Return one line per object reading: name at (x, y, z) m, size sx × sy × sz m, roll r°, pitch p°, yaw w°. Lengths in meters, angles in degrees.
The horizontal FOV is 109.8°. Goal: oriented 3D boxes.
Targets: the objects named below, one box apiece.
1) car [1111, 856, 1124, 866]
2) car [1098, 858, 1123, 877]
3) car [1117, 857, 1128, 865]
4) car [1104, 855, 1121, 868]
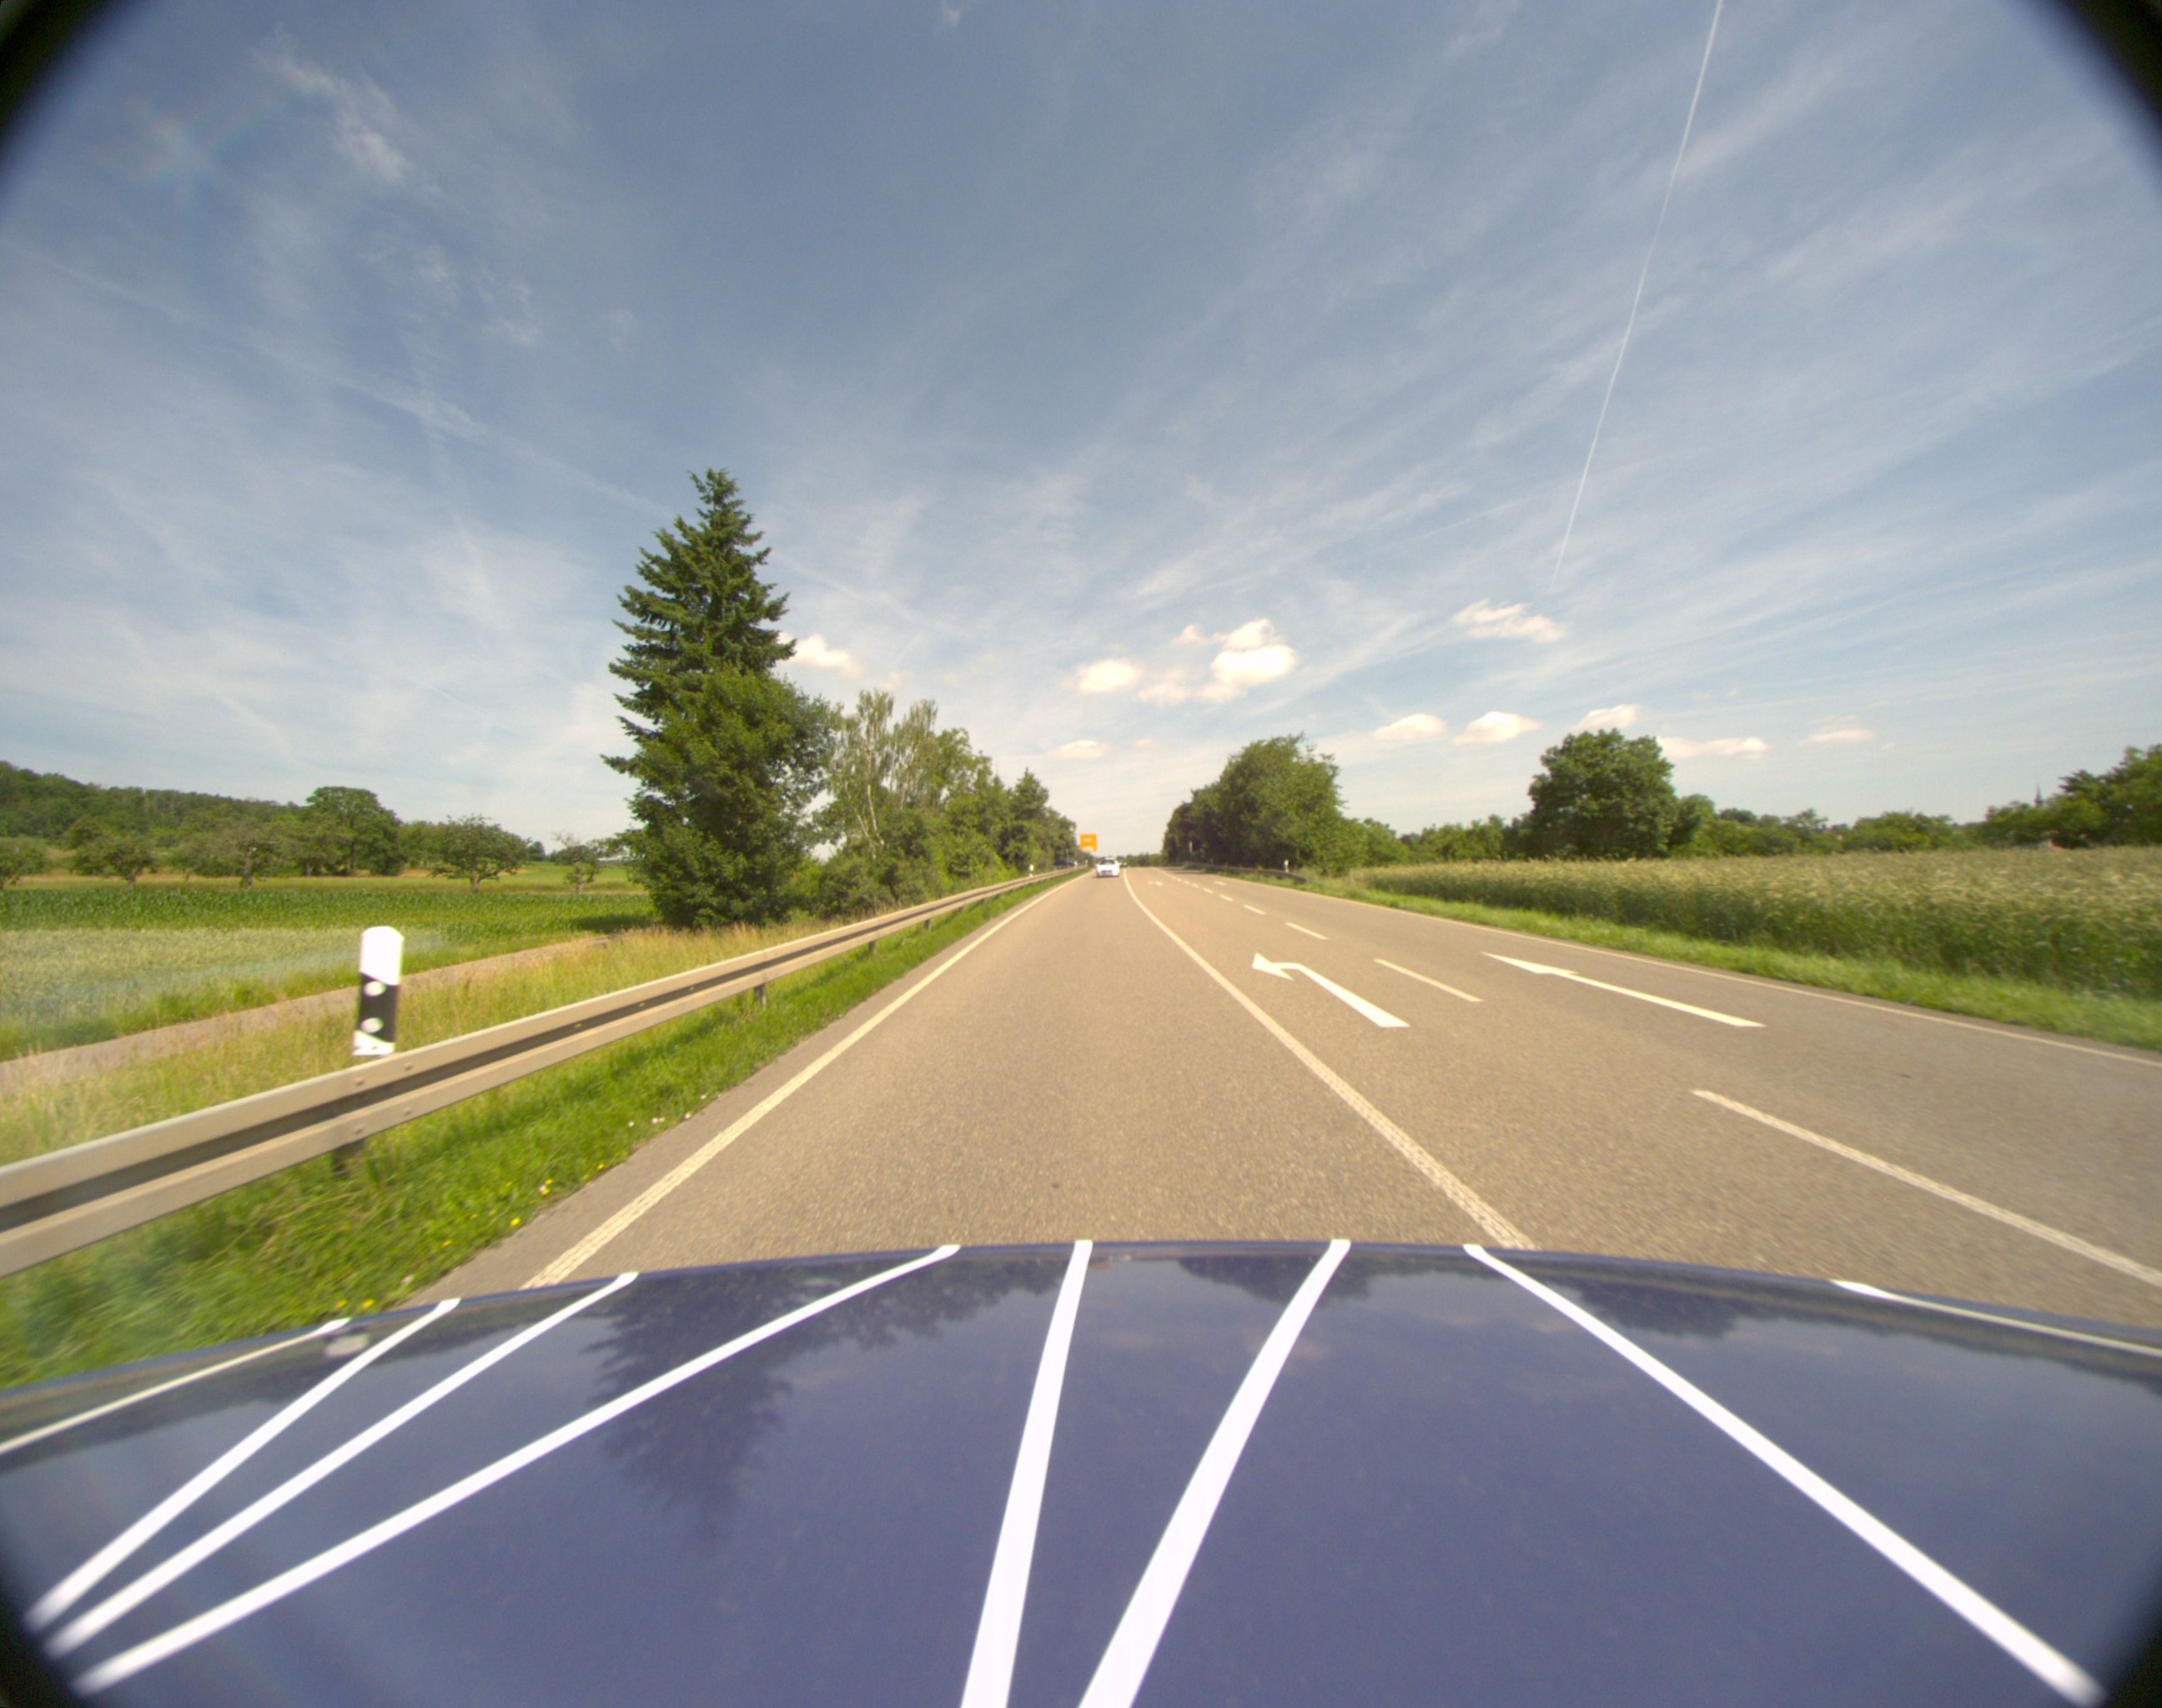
car at (5.592, 1.060, 117.007) m, size 1.929 × 1.441 × 4.078 m, roll -1°, pitch -1°, yaw 3°
car at (2.391, 1.064, 62.857) m, size 1.929 × 1.441 × 4.535 m, roll -2°, pitch 0°, yaw 1°
car at (7.642, 1.385, 141.671) m, size 1.929 × 1.441 × 4.001 m, roll -1°, pitch -1°, yaw 2°
car at (3.917, 0.904, 93.779) m, size 1.928 × 1.441 × 4.001 m, roll 0°, pitch 0°, yaw 4°
